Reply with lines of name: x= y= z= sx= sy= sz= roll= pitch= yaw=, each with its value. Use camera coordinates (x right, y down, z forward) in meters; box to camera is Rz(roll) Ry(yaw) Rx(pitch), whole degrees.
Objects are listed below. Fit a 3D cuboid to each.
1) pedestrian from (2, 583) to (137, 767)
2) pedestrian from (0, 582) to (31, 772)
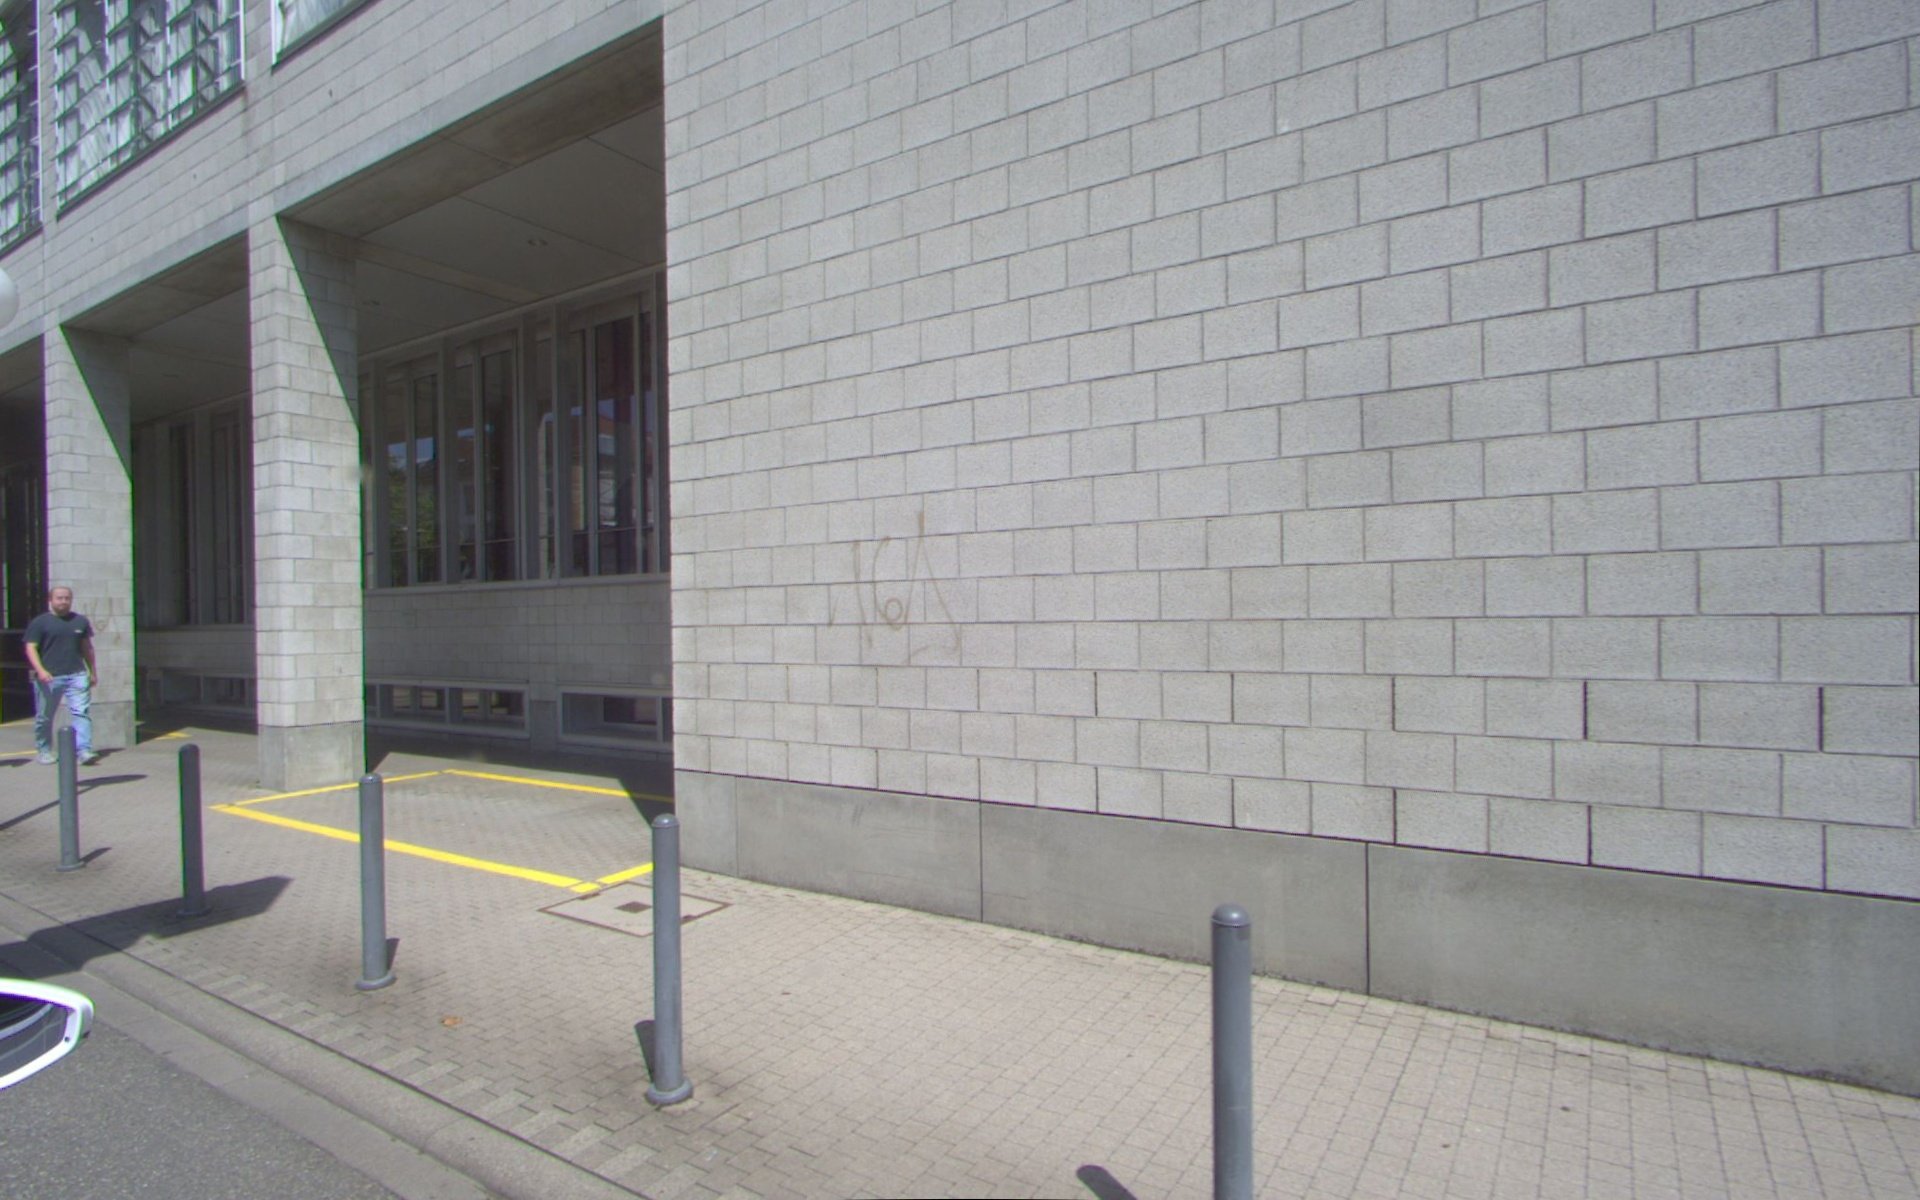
pedestrian: x=-9.206 y=0.734 z=10.362 sx=0.897 sy=1.805 sz=0.765 roll=0 pitch=2 yaw=32
pedestrian: x=-9.676 y=0.744 z=9.696 sx=1.070 sy=1.805 sz=0.693 roll=0 pitch=2 yaw=32
